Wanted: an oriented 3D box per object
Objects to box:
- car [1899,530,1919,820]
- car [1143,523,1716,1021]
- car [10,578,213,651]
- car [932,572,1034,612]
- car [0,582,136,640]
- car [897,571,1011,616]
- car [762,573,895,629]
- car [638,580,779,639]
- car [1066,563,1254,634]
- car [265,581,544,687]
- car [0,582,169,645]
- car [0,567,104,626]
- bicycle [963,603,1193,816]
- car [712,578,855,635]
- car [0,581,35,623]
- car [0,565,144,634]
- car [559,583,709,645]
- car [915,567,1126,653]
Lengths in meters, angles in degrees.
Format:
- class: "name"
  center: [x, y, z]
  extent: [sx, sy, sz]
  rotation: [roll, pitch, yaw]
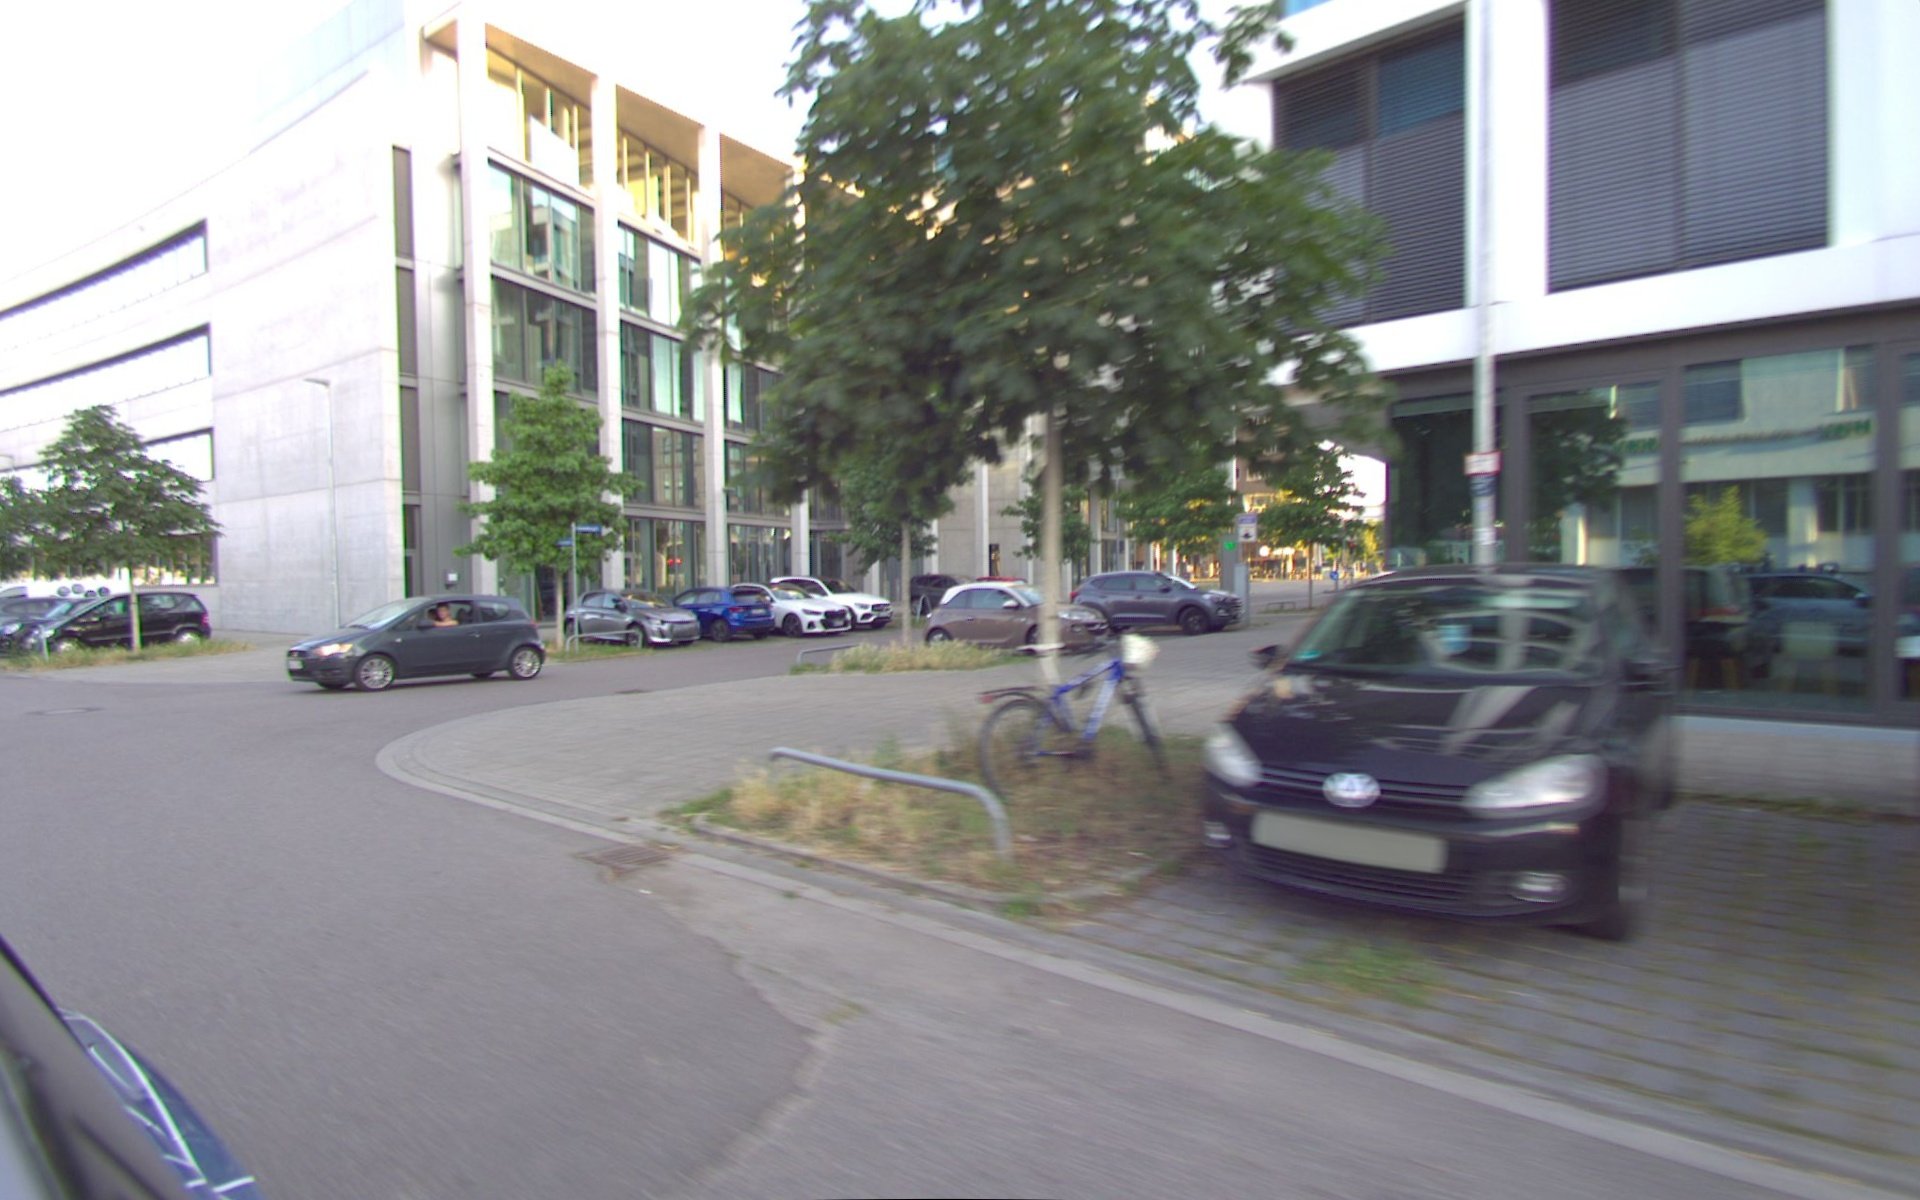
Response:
- class: "car"
  center: [5.116, 0.436, 3.939]
  extent: [1.843, 1.530, 4.068]
  rotation: [0, 2, 39]
- class: "car"
  center: [2.749, 0.456, 5.284]
  extent: [1.842, 1.530, 4.070]
  rotation: [-1, 2, 38]
- class: "car"
  center: [-21.214, 0.302, 25.413]
  extent: [1.724, 1.559, 3.611]
  rotation: [0, 3, 39]
- class: "car"
  center: [0.897, -0.348, 40.637]
  extent: [3.847, 1.516, 1.631]
  rotation: [2, 2, 33]
- class: "car"
  center: [-25.600, 0.284, 28.312]
  extent: [1.723, 1.435, 3.612]
  rotation: [0, 3, 37]
- class: "car"
  center: [-0.252, -0.303, 38.274]
  extent: [4.125, 1.585, 1.631]
  rotation: [2, 2, 33]
- class: "car"
  center: [-4.170, -0.019, 31.897]
  extent: [4.125, 1.640, 1.631]
  rotation: [2, 2, 33]
- class: "car"
  center: [-6.952, 0.214, 27.880]
  extent: [3.893, 1.439, 1.544]
  rotation: [2, 2, 33]
- class: "car"
  center: [5.020, -0.037, 25.647]
  extent: [4.361, 1.664, 1.711]
  rotation: [-1, 1, 35]
- class: "car"
  center: [-9.024, 0.468, 16.713]
  extent: [1.646, 1.506, 3.693]
  rotation: [0, 1, 35]
- class: "car"
  center: [-23.446, 0.307, 26.777]
  extent: [1.724, 1.435, 3.611]
  rotation: [0, 3, 39]
- class: "car"
  center: [-31.510, -0.085, 33.076]
  extent: [1.884, 1.840, 5.029]
  rotation: [0, 3, 33]
- class: "bicycle"
  center: [0.784, 0.591, 6.268]
  extent: [0.566, 1.073, 1.679]
  rotation: [0, 2, 40]
- class: "car"
  center: [-5.189, 0.133, 29.505]
  extent: [4.125, 1.503, 1.631]
  rotation: [2, 2, 33]
- class: "car"
  center: [-33.652, 0.132, 33.764]
  extent: [1.794, 1.370, 3.772]
  rotation: [0, 3, 33]
- class: "car"
  center: [-27.682, -0.027, 30.015]
  extent: [1.884, 1.894, 5.029]
  rotation: [0, 3, 33]
- class: "car"
  center: [-8.327, 0.311, 25.804]
  extent: [3.807, 1.396, 1.631]
  rotation: [2, 2, 33]
- class: "car"
  center: [1.132, 0.171, 19.576]
  extent: [3.715, 1.507, 1.711]
  rotation: [-1, 1, 35]
